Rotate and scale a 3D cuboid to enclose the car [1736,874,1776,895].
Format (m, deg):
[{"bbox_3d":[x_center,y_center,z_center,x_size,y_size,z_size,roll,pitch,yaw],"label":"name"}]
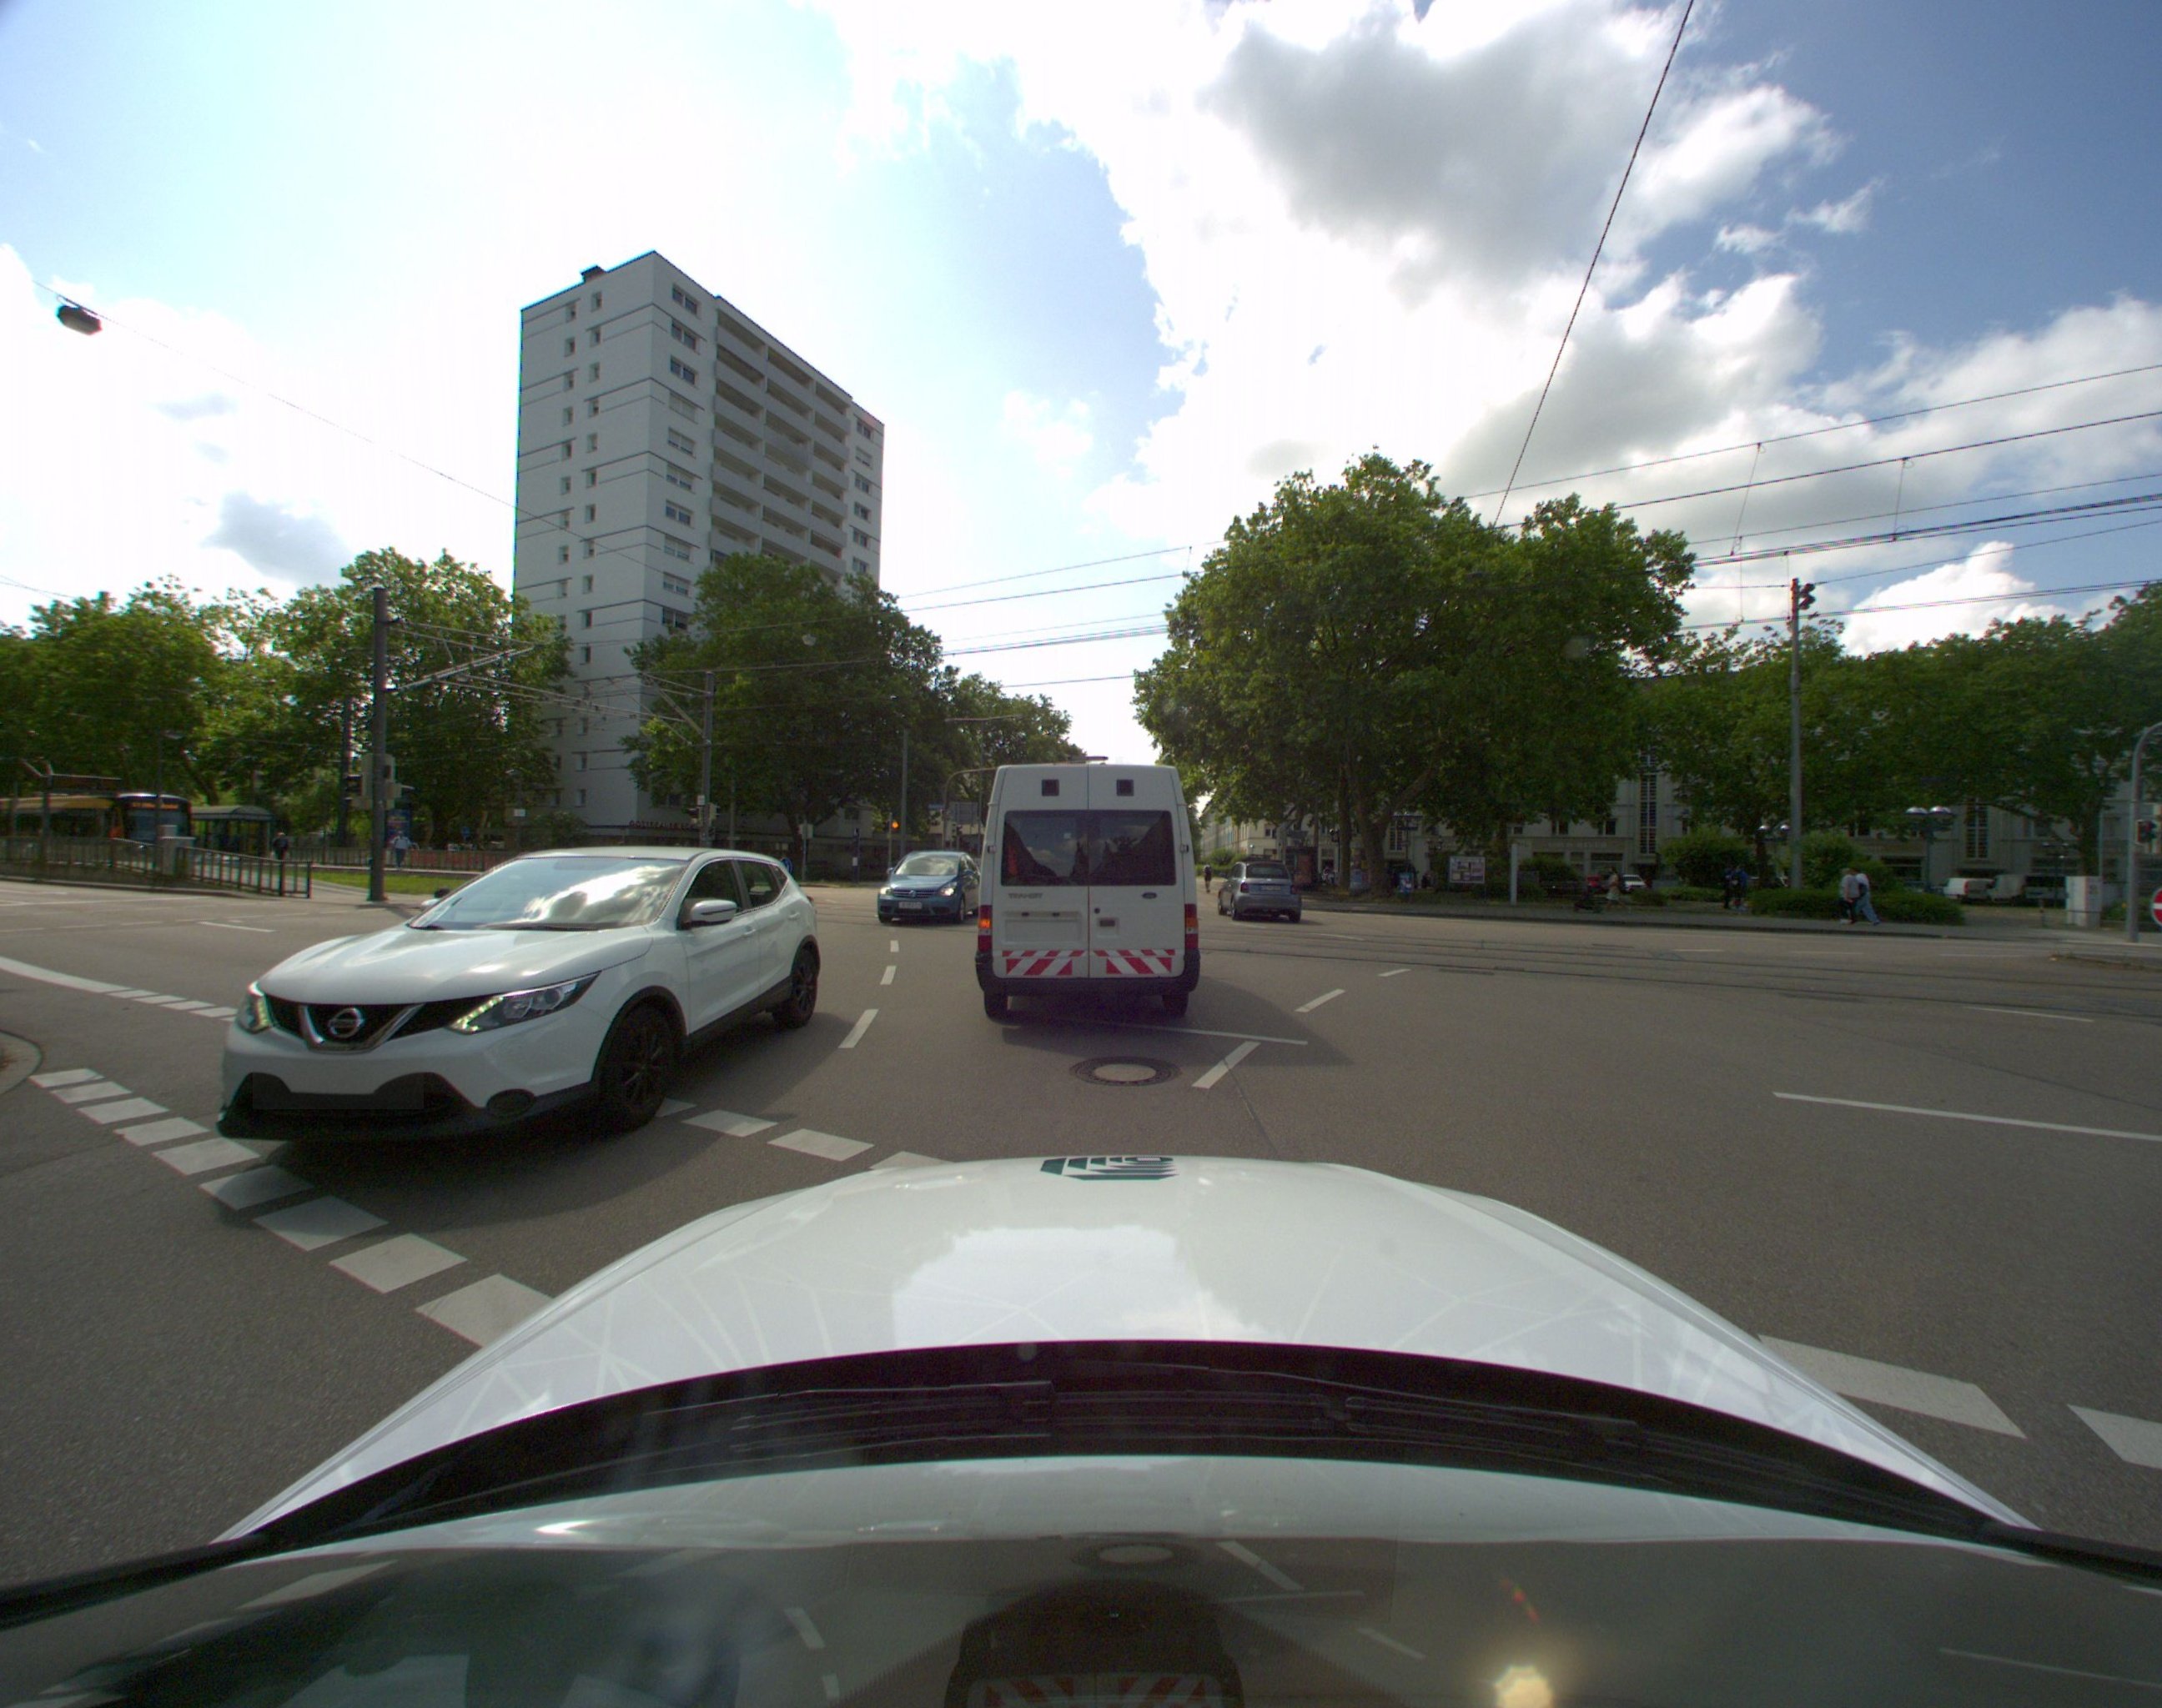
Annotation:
[{"bbox_3d":[54.833,2.445,66.222,1.722,1.637,4.024,0,-1,28],"label":"car"}]

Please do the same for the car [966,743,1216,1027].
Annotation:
[{"bbox_3d":[0.047,0.261,9.129,2.041,2.333,4.711,1,0,-1],"label":"car"}]

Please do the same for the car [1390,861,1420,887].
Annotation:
[{"bbox_3d":[26.992,1.635,67.842,1.975,2.076,4.023,1,-1,27],"label":"car"}]

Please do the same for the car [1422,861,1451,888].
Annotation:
[{"bbox_3d":[29.035,1.648,66.446,1.975,2.076,4.023,1,-1,27],"label":"car"}]

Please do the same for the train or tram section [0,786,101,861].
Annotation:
[{"bbox_3d":[-55.624,-1.530,42.730,10.275,3.584,2.821,1,-1,25],"label":"train or tram section"}]

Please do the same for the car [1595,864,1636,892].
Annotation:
[{"bbox_3d":[40.431,1.812,61.703,1.975,2.014,4.022,1,-1,24],"label":"car"}]

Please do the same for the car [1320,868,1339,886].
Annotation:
[{"bbox_3d":[20.286,1.883,66.478,1.454,1.389,3.080,1,-1,18],"label":"car"}]

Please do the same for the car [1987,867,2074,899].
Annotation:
[{"bbox_3d":[60.252,1.787,51.802,2.078,1.905,4.518,0,-1,28],"label":"car"}]

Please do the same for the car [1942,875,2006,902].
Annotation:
[{"bbox_3d":[66.516,2.539,60.768,1.975,1.964,4.024,0,-1,28],"label":"car"}]

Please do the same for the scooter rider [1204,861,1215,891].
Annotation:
[{"bbox_3d":[7.906,1.329,50.101,0.524,1.812,0.649,1,-1,1],"label":"scooter rider"}]

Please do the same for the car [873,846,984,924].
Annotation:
[{"bbox_3d":[-3.276,0.629,18.278,1.741,1.540,3.931,0,0,0],"label":"car"}]

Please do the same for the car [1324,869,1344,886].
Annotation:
[{"bbox_3d":[21.782,1.994,70.007,1.453,1.389,3.251,1,-1,19],"label":"car"}]

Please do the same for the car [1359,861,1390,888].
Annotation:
[{"bbox_3d":[24.800,1.750,68.697,1.975,2.183,4.282,1,-1,27],"label":"car"}]

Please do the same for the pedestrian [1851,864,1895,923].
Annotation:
[{"bbox_3d":[24.205,1.183,24.897,0.665,1.764,0.693,1,-1,2],"label":"pedestrian"}]

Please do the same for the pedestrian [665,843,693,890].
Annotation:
[{"bbox_3d":[-14.501,0.452,29.399,0.667,1.666,0.630,1,-1,35],"label":"pedestrian"}]

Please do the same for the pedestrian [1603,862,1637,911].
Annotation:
[{"bbox_3d":[18.383,1.102,27.806,0.911,1.646,0.573,1,-1,28],"label":"pedestrian"}]

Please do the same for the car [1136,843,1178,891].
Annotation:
[{"bbox_3d":[4.458,0.765,48.615,2.111,2.641,6.330,1,0,2],"label":"car"}]

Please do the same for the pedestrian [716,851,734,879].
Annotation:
[{"bbox_3d":[-20.728,0.663,47.418,0.775,1.599,0.538,1,-1,23],"label":"pedestrian"}]

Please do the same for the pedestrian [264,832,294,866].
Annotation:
[{"bbox_3d":[-42.717,-0.256,43.385,0.866,1.775,0.865,0,-1,26],"label":"pedestrian"}]

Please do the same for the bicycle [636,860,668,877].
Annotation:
[{"bbox_3d":[-27.332,0.934,51.938,1.736,1.009,0.528,2,-1,-37],"label":"bicycle"}]

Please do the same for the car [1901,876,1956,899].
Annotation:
[{"bbox_3d":[64.212,2.539,61.797,1.722,1.637,4.024,0,-1,28],"label":"car"}]

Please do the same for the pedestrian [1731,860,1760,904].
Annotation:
[{"bbox_3d":[26.920,1.143,32.996,0.694,1.750,0.606,1,-1,2],"label":"pedestrian"}]

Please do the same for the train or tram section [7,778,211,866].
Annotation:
[{"bbox_3d":[-45.189,-1.393,37.717,12.855,3.584,2.832,1,-1,25],"label":"train or tram section"}]

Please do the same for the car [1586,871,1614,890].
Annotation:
[{"bbox_3d":[45.276,2.297,71.079,1.722,1.637,4.024,0,-1,28],"label":"car"}]

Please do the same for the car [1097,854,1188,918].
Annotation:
[{"bbox_3d":[1.535,0.783,21.653,1.811,1.506,4.124,1,0,-4],"label":"car"}]

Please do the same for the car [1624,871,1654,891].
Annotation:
[{"bbox_3d":[47.778,2.321,69.769,1.722,1.637,4.024,0,-1,28],"label":"car"}]

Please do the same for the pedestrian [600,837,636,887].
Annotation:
[{"bbox_3d":[-17.878,0.301,31.433,0.836,1.899,0.834,0,-1,26],"label":"pedestrian"}]

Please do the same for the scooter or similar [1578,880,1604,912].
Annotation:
[{"bbox_3d":[17.656,1.448,28.193,0.699,1.056,0.494,1,-1,28],"label":"scooter or similar"}]

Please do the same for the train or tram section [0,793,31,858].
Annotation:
[{"bbox_3d":[-66.013,-1.671,47.705,12.855,3.584,2.748,1,-1,25],"label":"train or tram section"}]

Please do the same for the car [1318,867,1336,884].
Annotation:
[{"bbox_3d":[24.614,2.113,81.447,1.453,1.666,3.083,1,-1,22],"label":"car"}]

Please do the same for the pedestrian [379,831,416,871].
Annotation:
[{"bbox_3d":[-30.541,-0.134,36.394,1.032,1.780,0.856,1,-1,26],"label":"pedestrian"}]

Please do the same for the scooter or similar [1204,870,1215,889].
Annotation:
[{"bbox_3d":[7.900,1.562,50.102,0.547,1.091,1.292,1,-1,2],"label":"scooter or similar"}]

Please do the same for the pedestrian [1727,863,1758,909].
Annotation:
[{"bbox_3d":[25.713,1.230,31.651,0.694,1.750,0.606,1,-1,2],"label":"pedestrian"}]

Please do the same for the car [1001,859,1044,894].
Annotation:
[{"bbox_3d":[-2.526,0.935,35.800,1.708,1.433,3.816,0,0,-1],"label":"car"}]

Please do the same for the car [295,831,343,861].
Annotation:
[{"bbox_3d":[-72.625,-0.739,77.637,4.225,2.775,1.823,1,-1,25],"label":"car"}]

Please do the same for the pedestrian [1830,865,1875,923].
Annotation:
[{"bbox_3d":[23.519,1.207,24.841,0.714,1.722,0.693,1,-1,2],"label":"pedestrian"}]

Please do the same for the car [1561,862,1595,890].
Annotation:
[{"bbox_3d":[38.437,1.683,63.023,1.975,2.014,4.023,0,-1,27],"label":"car"}]

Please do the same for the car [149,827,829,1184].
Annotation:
[{"bbox_3d":[-3.249,0.667,5.639,1.765,1.582,4.019,0,0,0],"label":"car"}]

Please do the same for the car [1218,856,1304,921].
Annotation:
[{"bbox_3d":[4.643,0.841,21.397,1.684,1.538,3.471,1,0,3],"label":"car"}]
